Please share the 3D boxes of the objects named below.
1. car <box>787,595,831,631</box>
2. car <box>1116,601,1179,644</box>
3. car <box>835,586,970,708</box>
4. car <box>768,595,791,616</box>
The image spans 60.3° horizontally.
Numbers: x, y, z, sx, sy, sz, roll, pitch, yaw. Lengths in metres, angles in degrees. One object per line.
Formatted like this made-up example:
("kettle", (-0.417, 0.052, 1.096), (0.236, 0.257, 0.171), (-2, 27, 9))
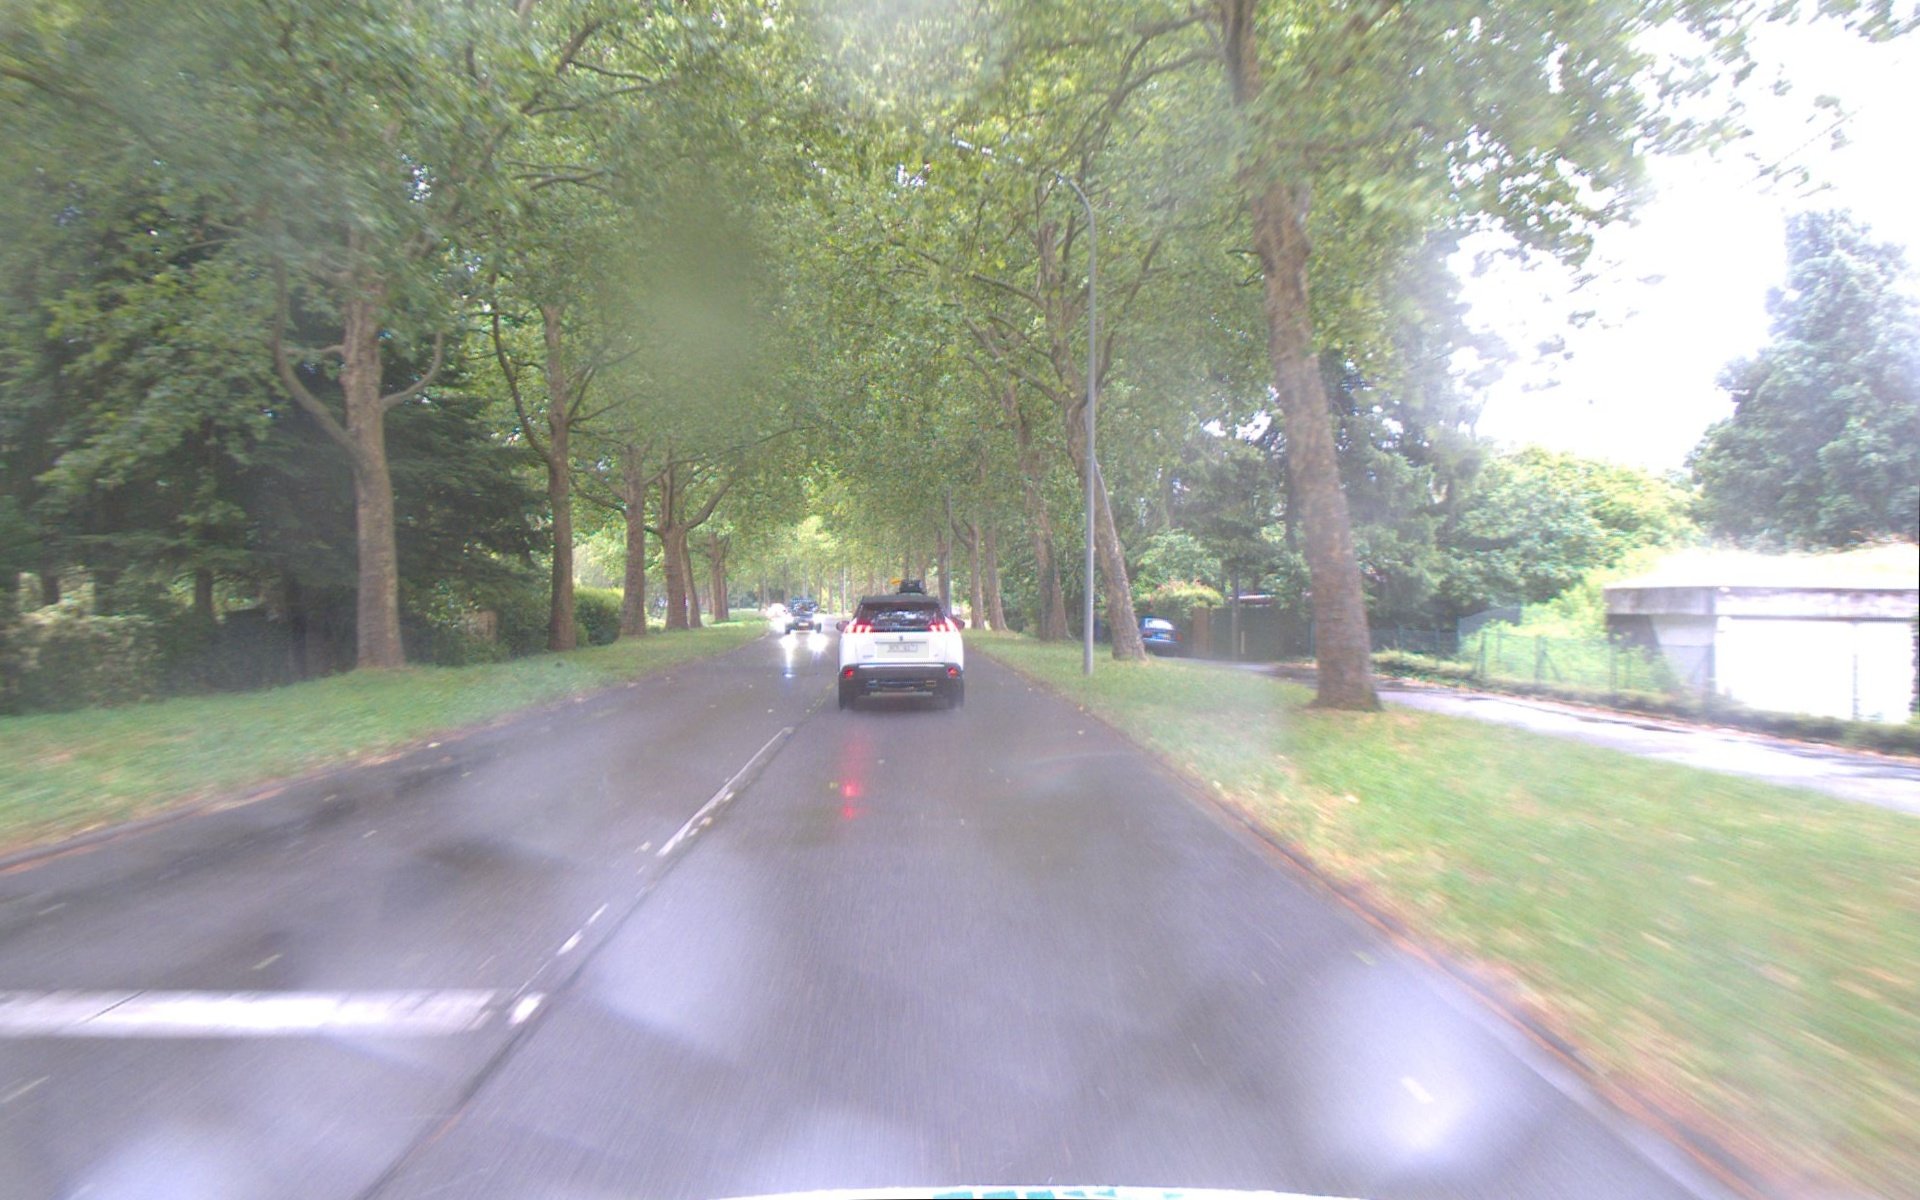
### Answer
("car", (-7.363, 0.635, 80.726), (1.835, 1.706, 3.707), (1, 0, -1))
("car", (7.041, 0.828, 62.328), (1.867, 1.536, 3.930), (1, 0, -1))
("car", (-0.844, 0.680, 24.062), (1.744, 1.563, 4.055), (2, -2, -2))
("car", (-18.129, 0.590, 166.329), (1.953, 2.049, 3.999), (1, 0, -1))
